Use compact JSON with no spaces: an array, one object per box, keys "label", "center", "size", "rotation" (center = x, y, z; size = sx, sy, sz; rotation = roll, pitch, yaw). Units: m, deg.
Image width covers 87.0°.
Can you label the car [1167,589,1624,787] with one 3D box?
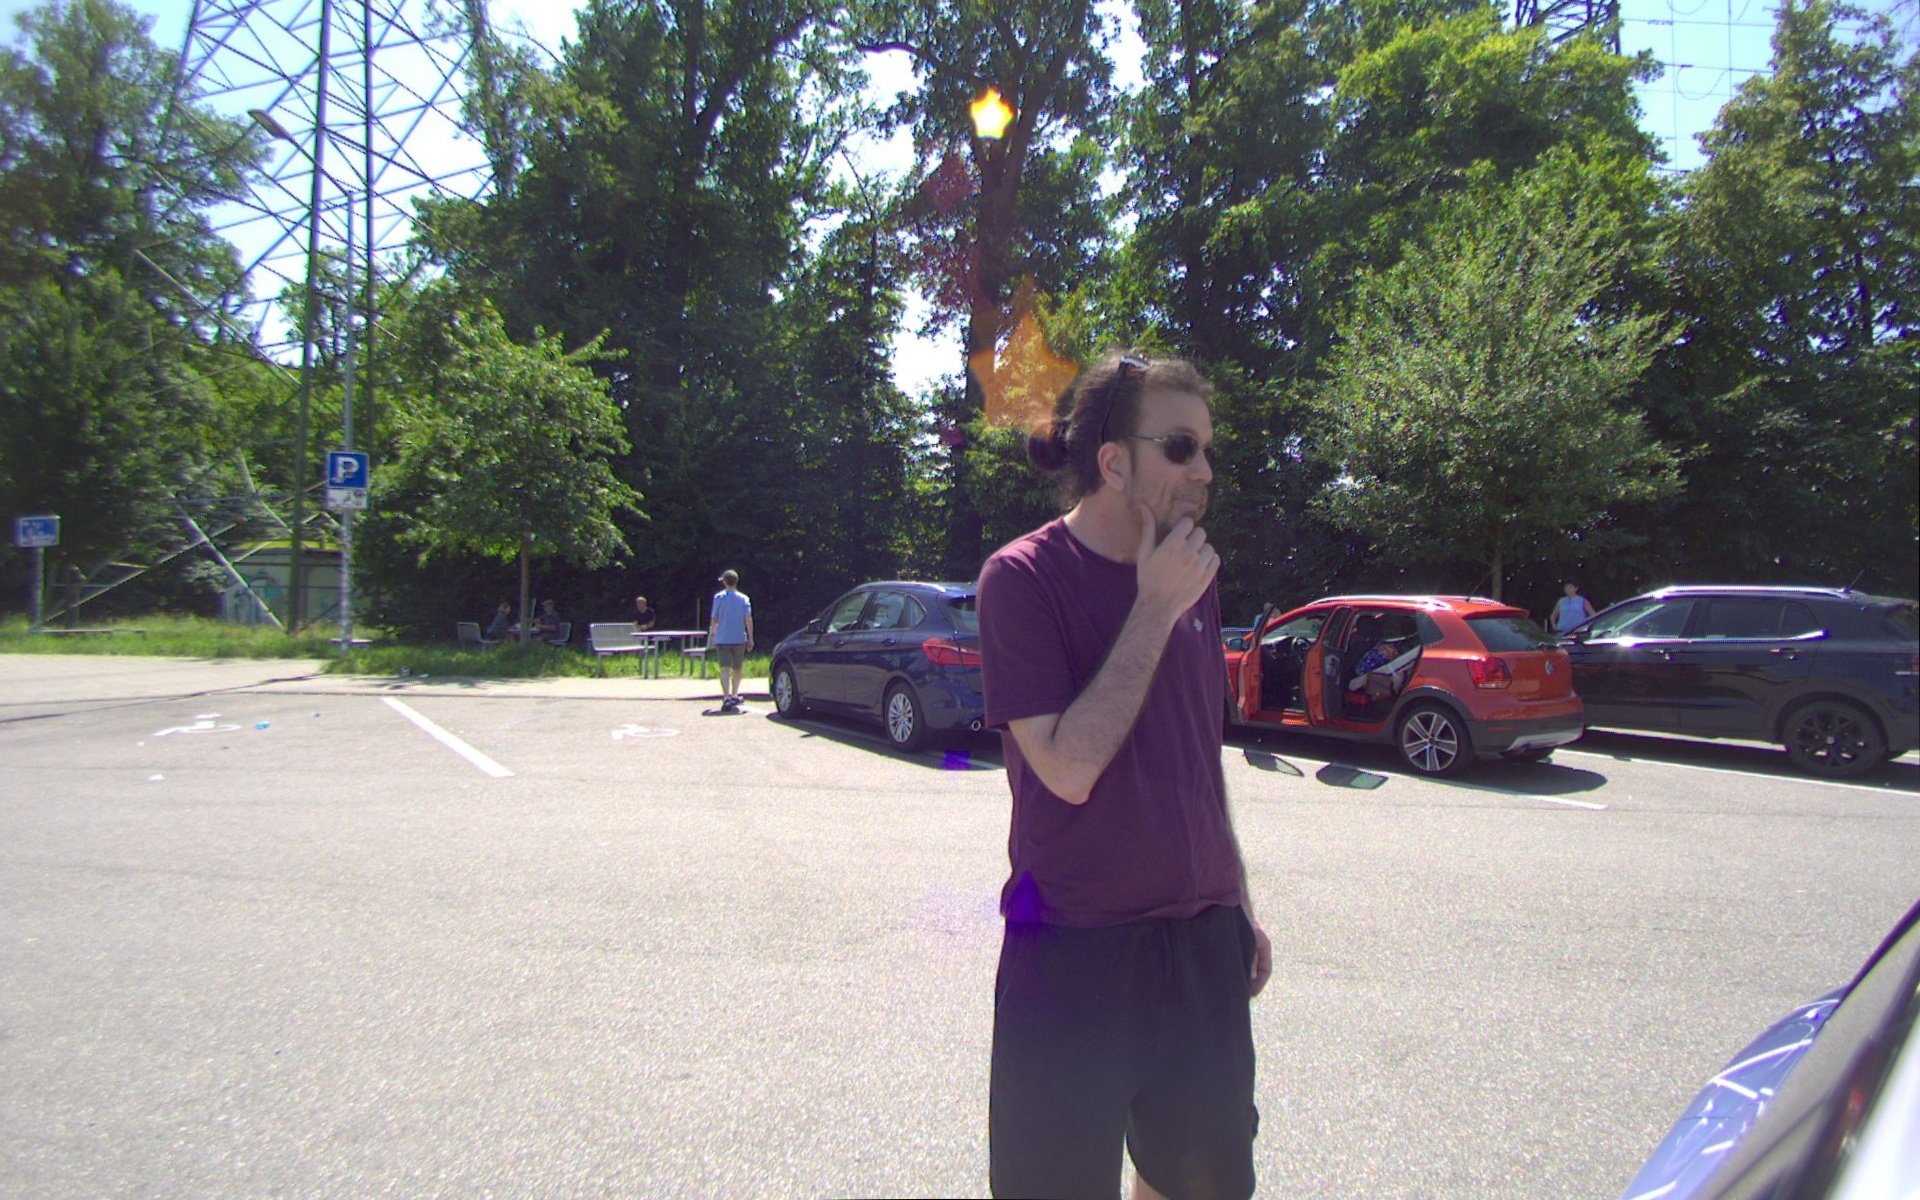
[{"label":"car","center":[3.873,0.647,9.584],"size":[1.559,1.467,3.737],"rotation":[1,0,-33]}]

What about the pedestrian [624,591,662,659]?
[{"label":"pedestrian","center":[-6.671,0.523,21.307],"size":[0.553,1.408,0.700],"rotation":[0,0,2]}]

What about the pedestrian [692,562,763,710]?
[{"label":"pedestrian","center":[-2.856,0.427,12.487],"size":[0.663,1.754,0.833],"rotation":[0,0,1]}]

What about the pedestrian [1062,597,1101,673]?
[{"label":"pedestrian","center":[2.034,0.583,17.006],"size":[0.576,1.251,0.697],"rotation":[0,-1,1]}]

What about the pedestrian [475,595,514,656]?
[{"label":"pedestrian","center":[-10.500,0.557,22.830],"size":[0.687,1.352,0.563],"rotation":[0,0,-40]}]

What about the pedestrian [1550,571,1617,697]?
[{"label":"pedestrian","center":[9.412,0.499,15.299],"size":[0.756,1.854,0.517],"rotation":[0,0,19]}]

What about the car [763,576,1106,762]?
[{"label":"car","center":[-0.465,0.559,10.656],"size":[1.776,1.562,3.940],"rotation":[1,0,-34]}]

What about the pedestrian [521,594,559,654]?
[{"label":"pedestrian","center":[-9.743,0.547,23.468],"size":[0.687,1.352,0.563],"rotation":[0,0,-40]}]

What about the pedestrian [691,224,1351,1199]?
[{"label":"pedestrian","center":[0.167,0.505,1.701],"size":[0.852,1.857,0.857],"rotation":[0,0,26]}]

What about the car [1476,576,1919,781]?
[{"label":"car","center":[7.238,0.598,9.699],"size":[1.707,1.607,3.732],"rotation":[1,0,-39]}]

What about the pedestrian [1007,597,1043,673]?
[{"label":"pedestrian","center":[1.086,0.588,17.072],"size":[0.576,1.251,0.697],"rotation":[0,-1,1]}]
